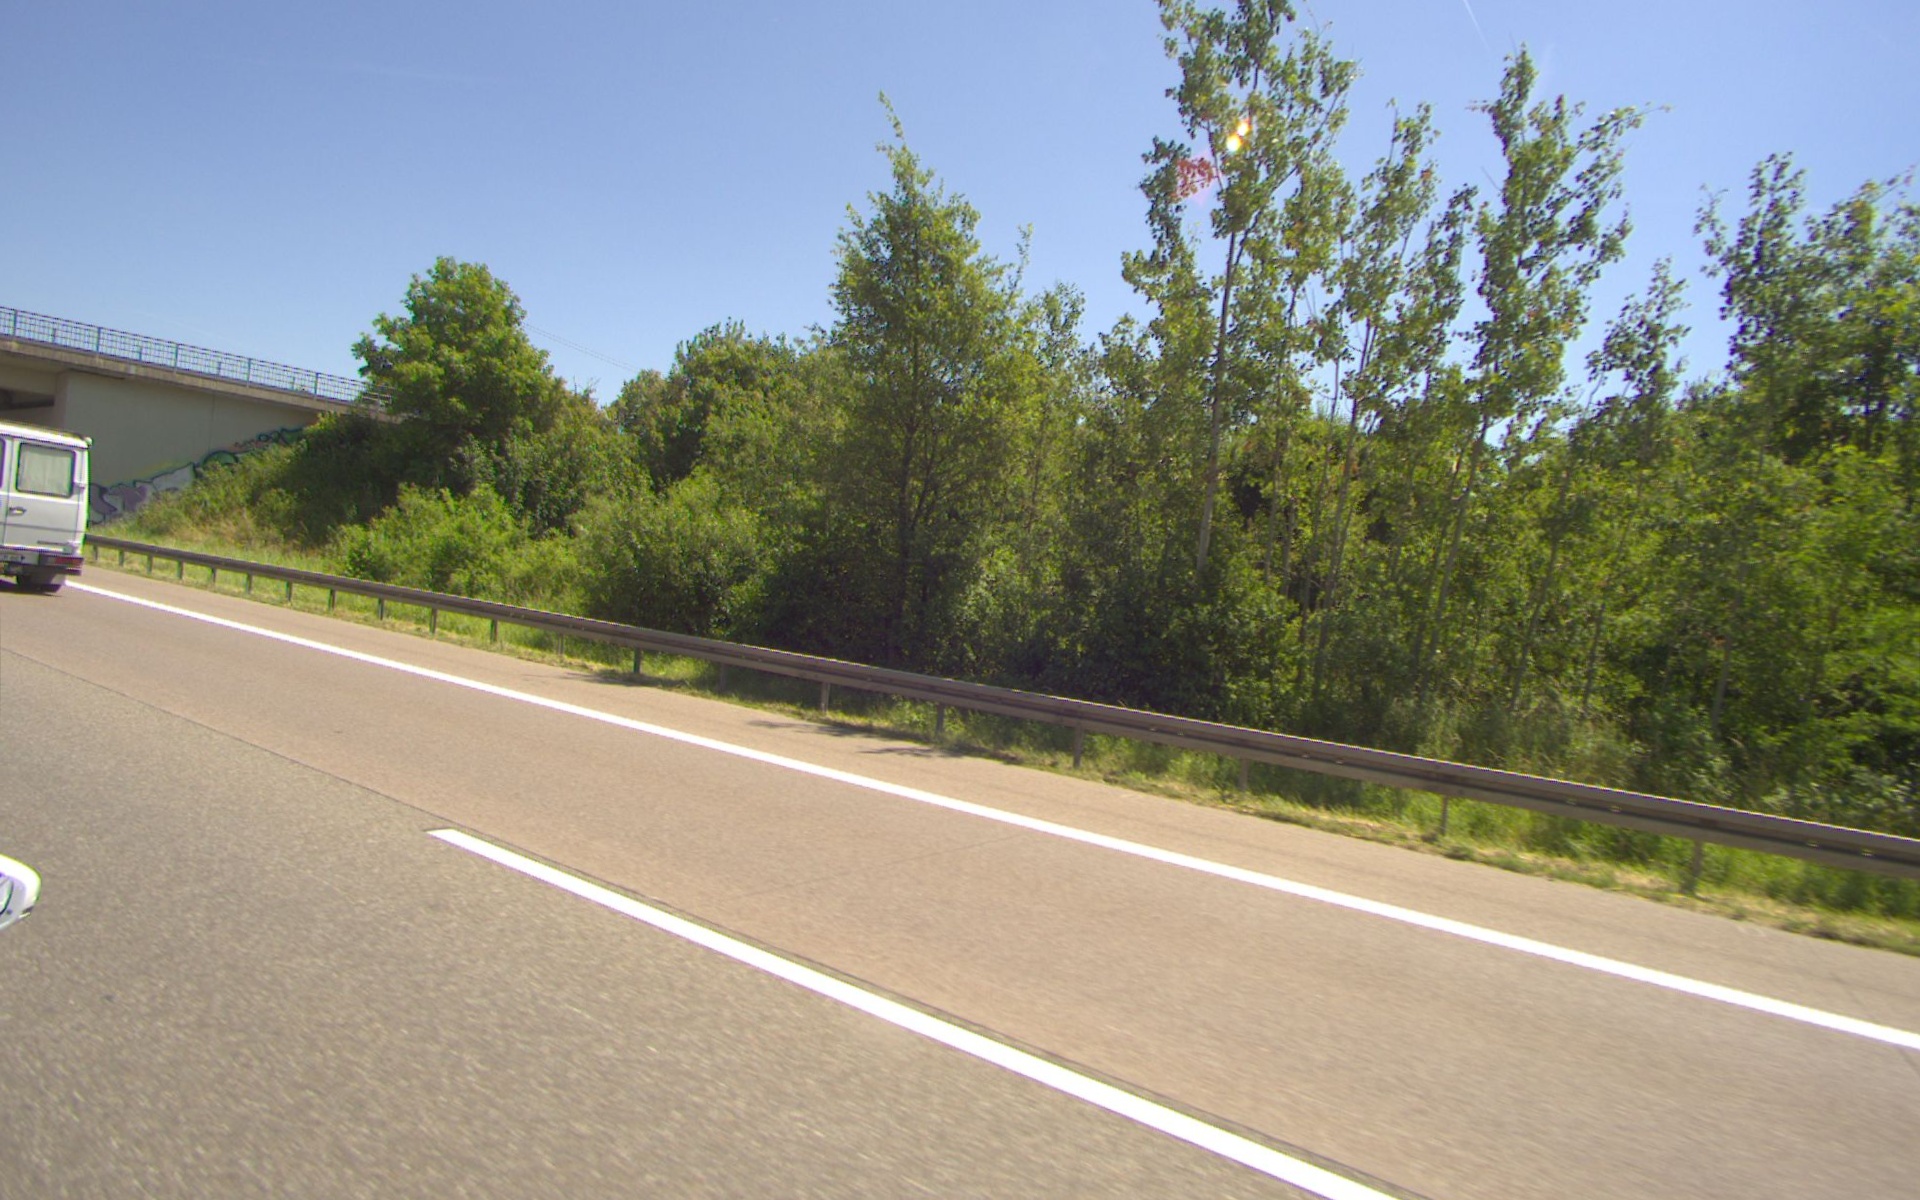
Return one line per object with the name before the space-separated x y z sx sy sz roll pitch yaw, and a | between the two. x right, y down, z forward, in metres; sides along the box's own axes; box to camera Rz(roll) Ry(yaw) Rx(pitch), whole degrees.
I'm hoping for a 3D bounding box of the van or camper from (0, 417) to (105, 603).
van or camper | -17.285 -1.695 17.192 6.263 2.735 2.117 6 -1 32
